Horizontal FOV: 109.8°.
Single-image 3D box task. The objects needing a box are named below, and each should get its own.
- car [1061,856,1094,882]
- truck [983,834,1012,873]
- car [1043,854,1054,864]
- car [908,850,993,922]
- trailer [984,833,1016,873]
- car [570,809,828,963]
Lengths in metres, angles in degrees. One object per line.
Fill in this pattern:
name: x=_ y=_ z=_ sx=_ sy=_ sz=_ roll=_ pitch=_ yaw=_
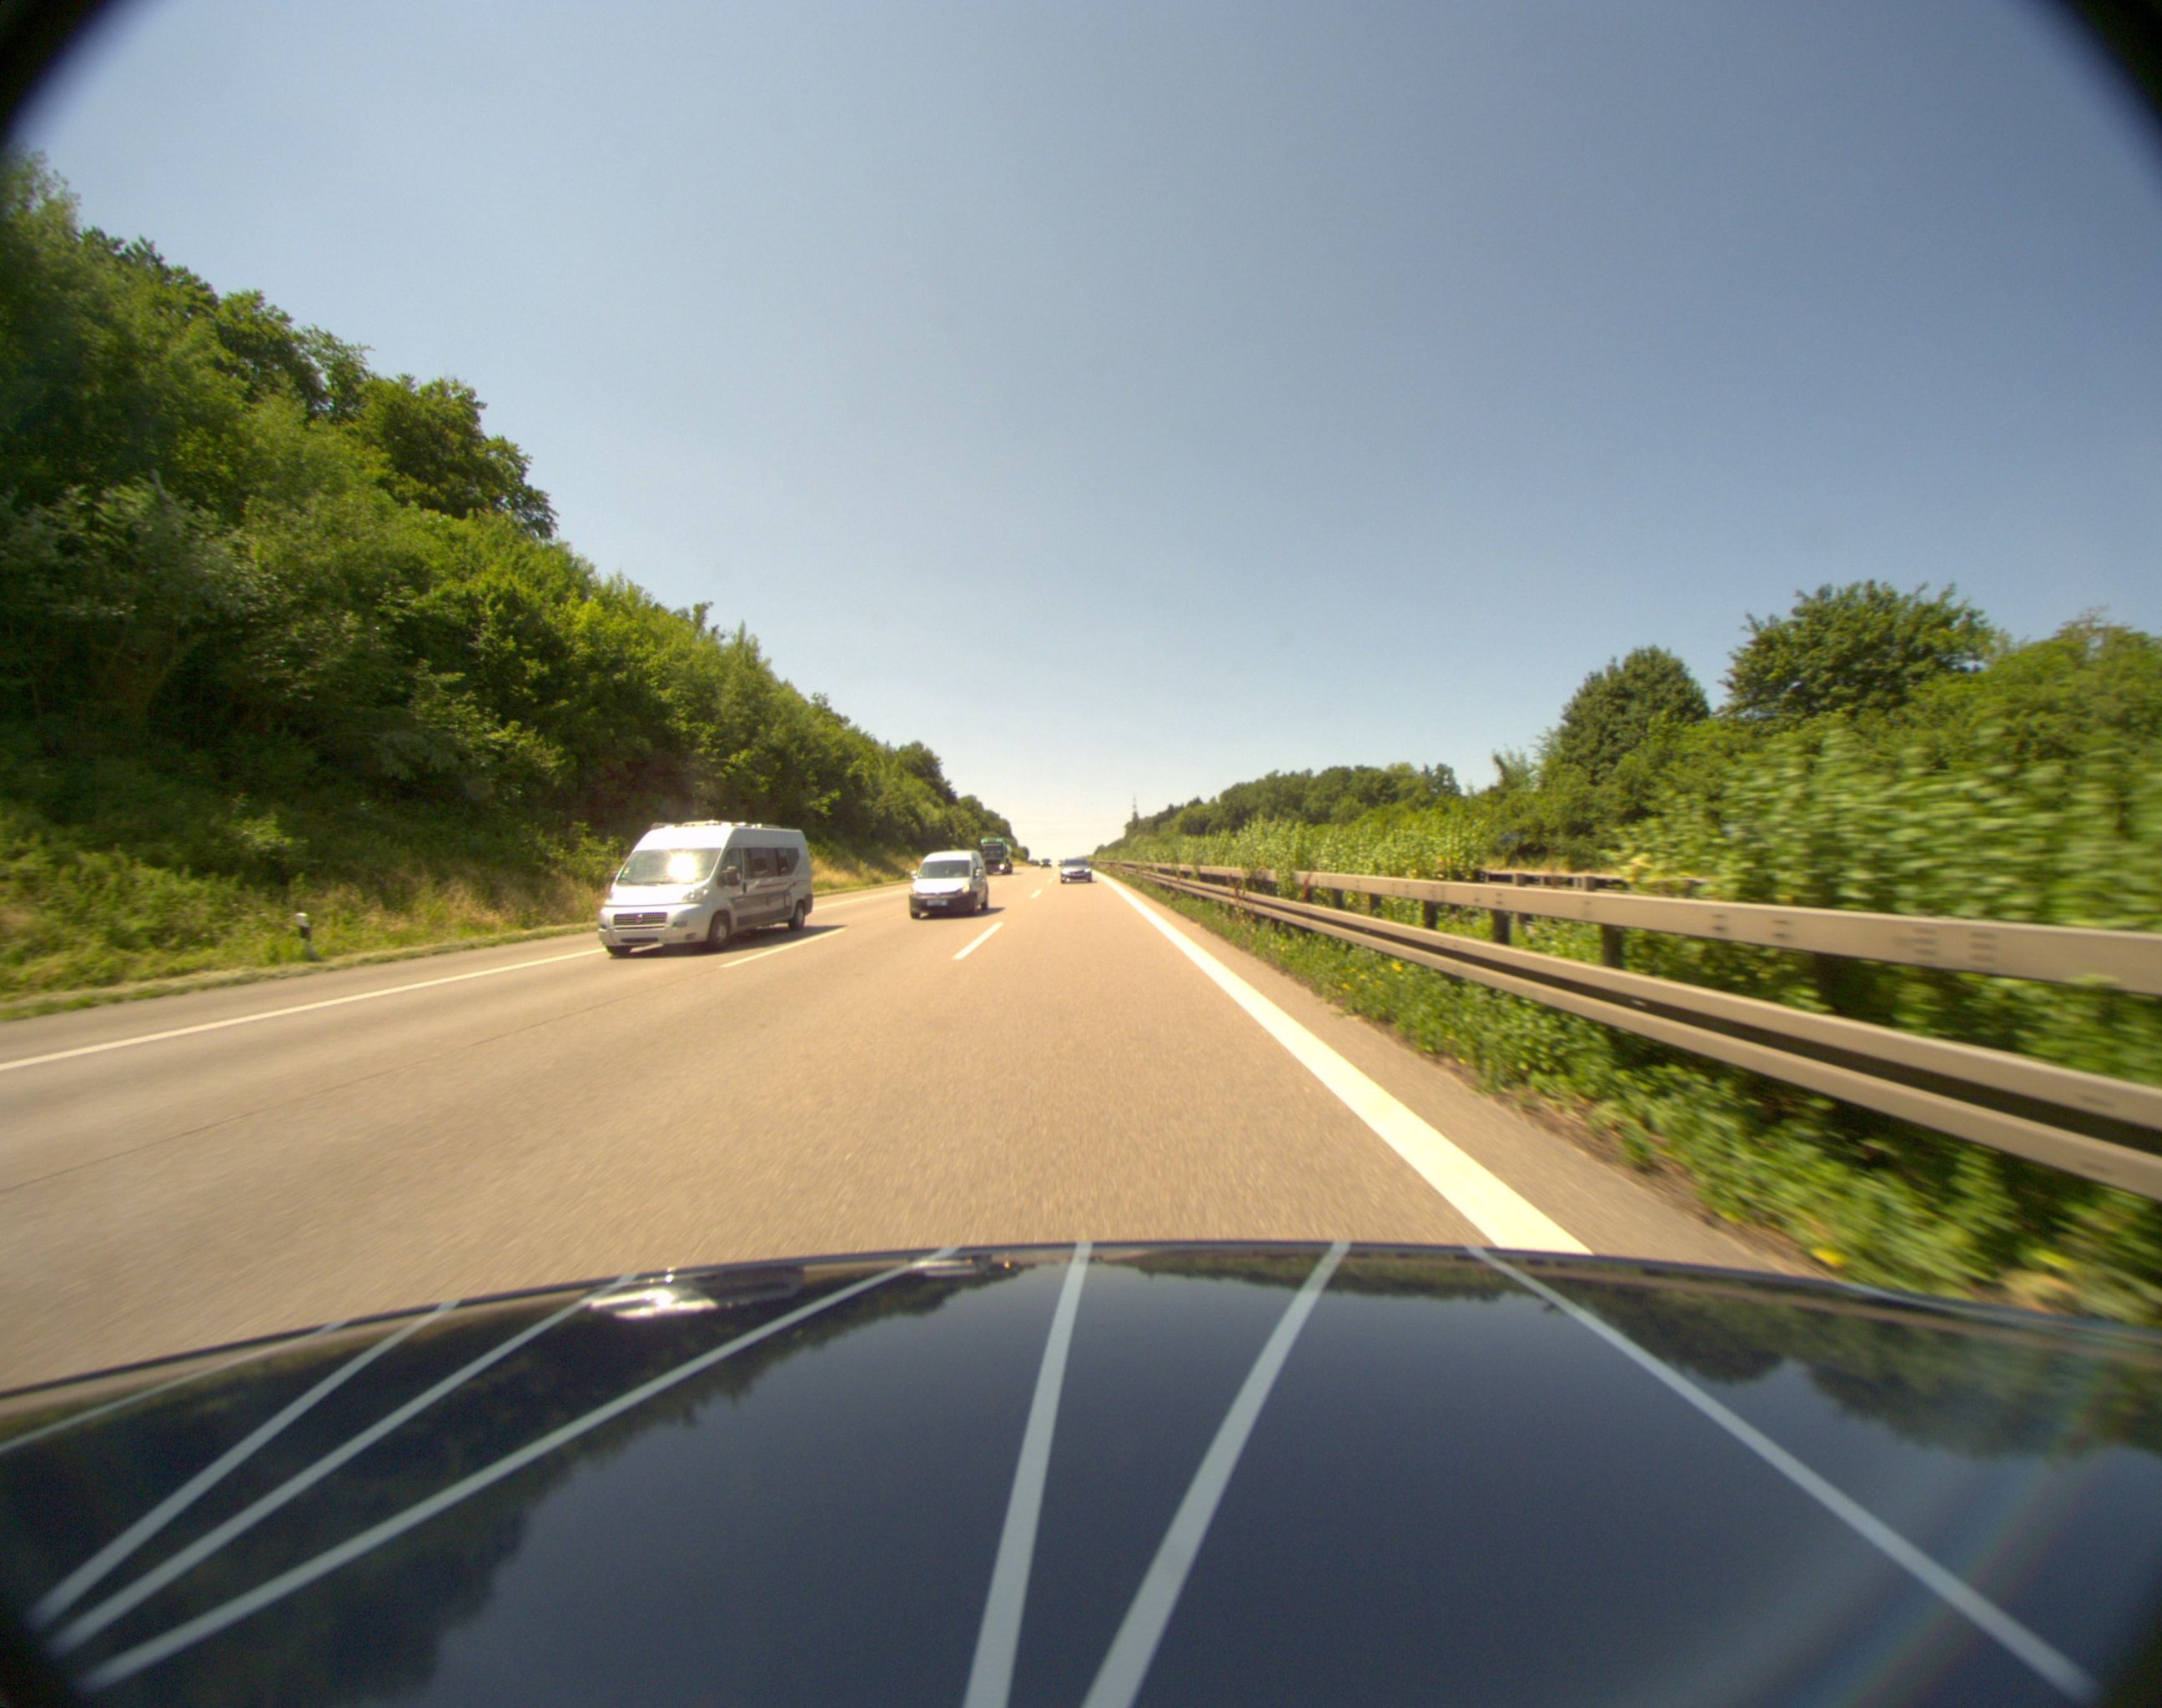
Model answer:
car: x=-0.176 y=0.881 z=44.976 sx=1.768 sy=1.400 sz=4.000 roll=-2 pitch=-1 yaw=2
truck: x=-8.582 y=-0.022 z=78.644 sx=2.516 sy=3.819 sz=4.891 roll=-2 pitch=-1 yaw=-3
car: x=-5.633 y=0.849 z=130.422 sx=1.788 sy=1.550 sz=3.942 roll=-2 pitch=-1 yaw=-3
car: x=-3.699 y=0.835 z=22.329 sx=1.750 sy=1.819 sz=4.800 roll=-2 pitch=0 yaw=-2
trailer: x=-8.809 y=-0.037 z=83.970 sx=2.594 sy=4.003 sz=10.470 roll=-2 pitch=-1 yaw=-2
car: x=-7.645 y=0.595 z=16.330 sx=2.094 sy=2.560 sz=6.622 roll=-2 pitch=-1 yaw=0
